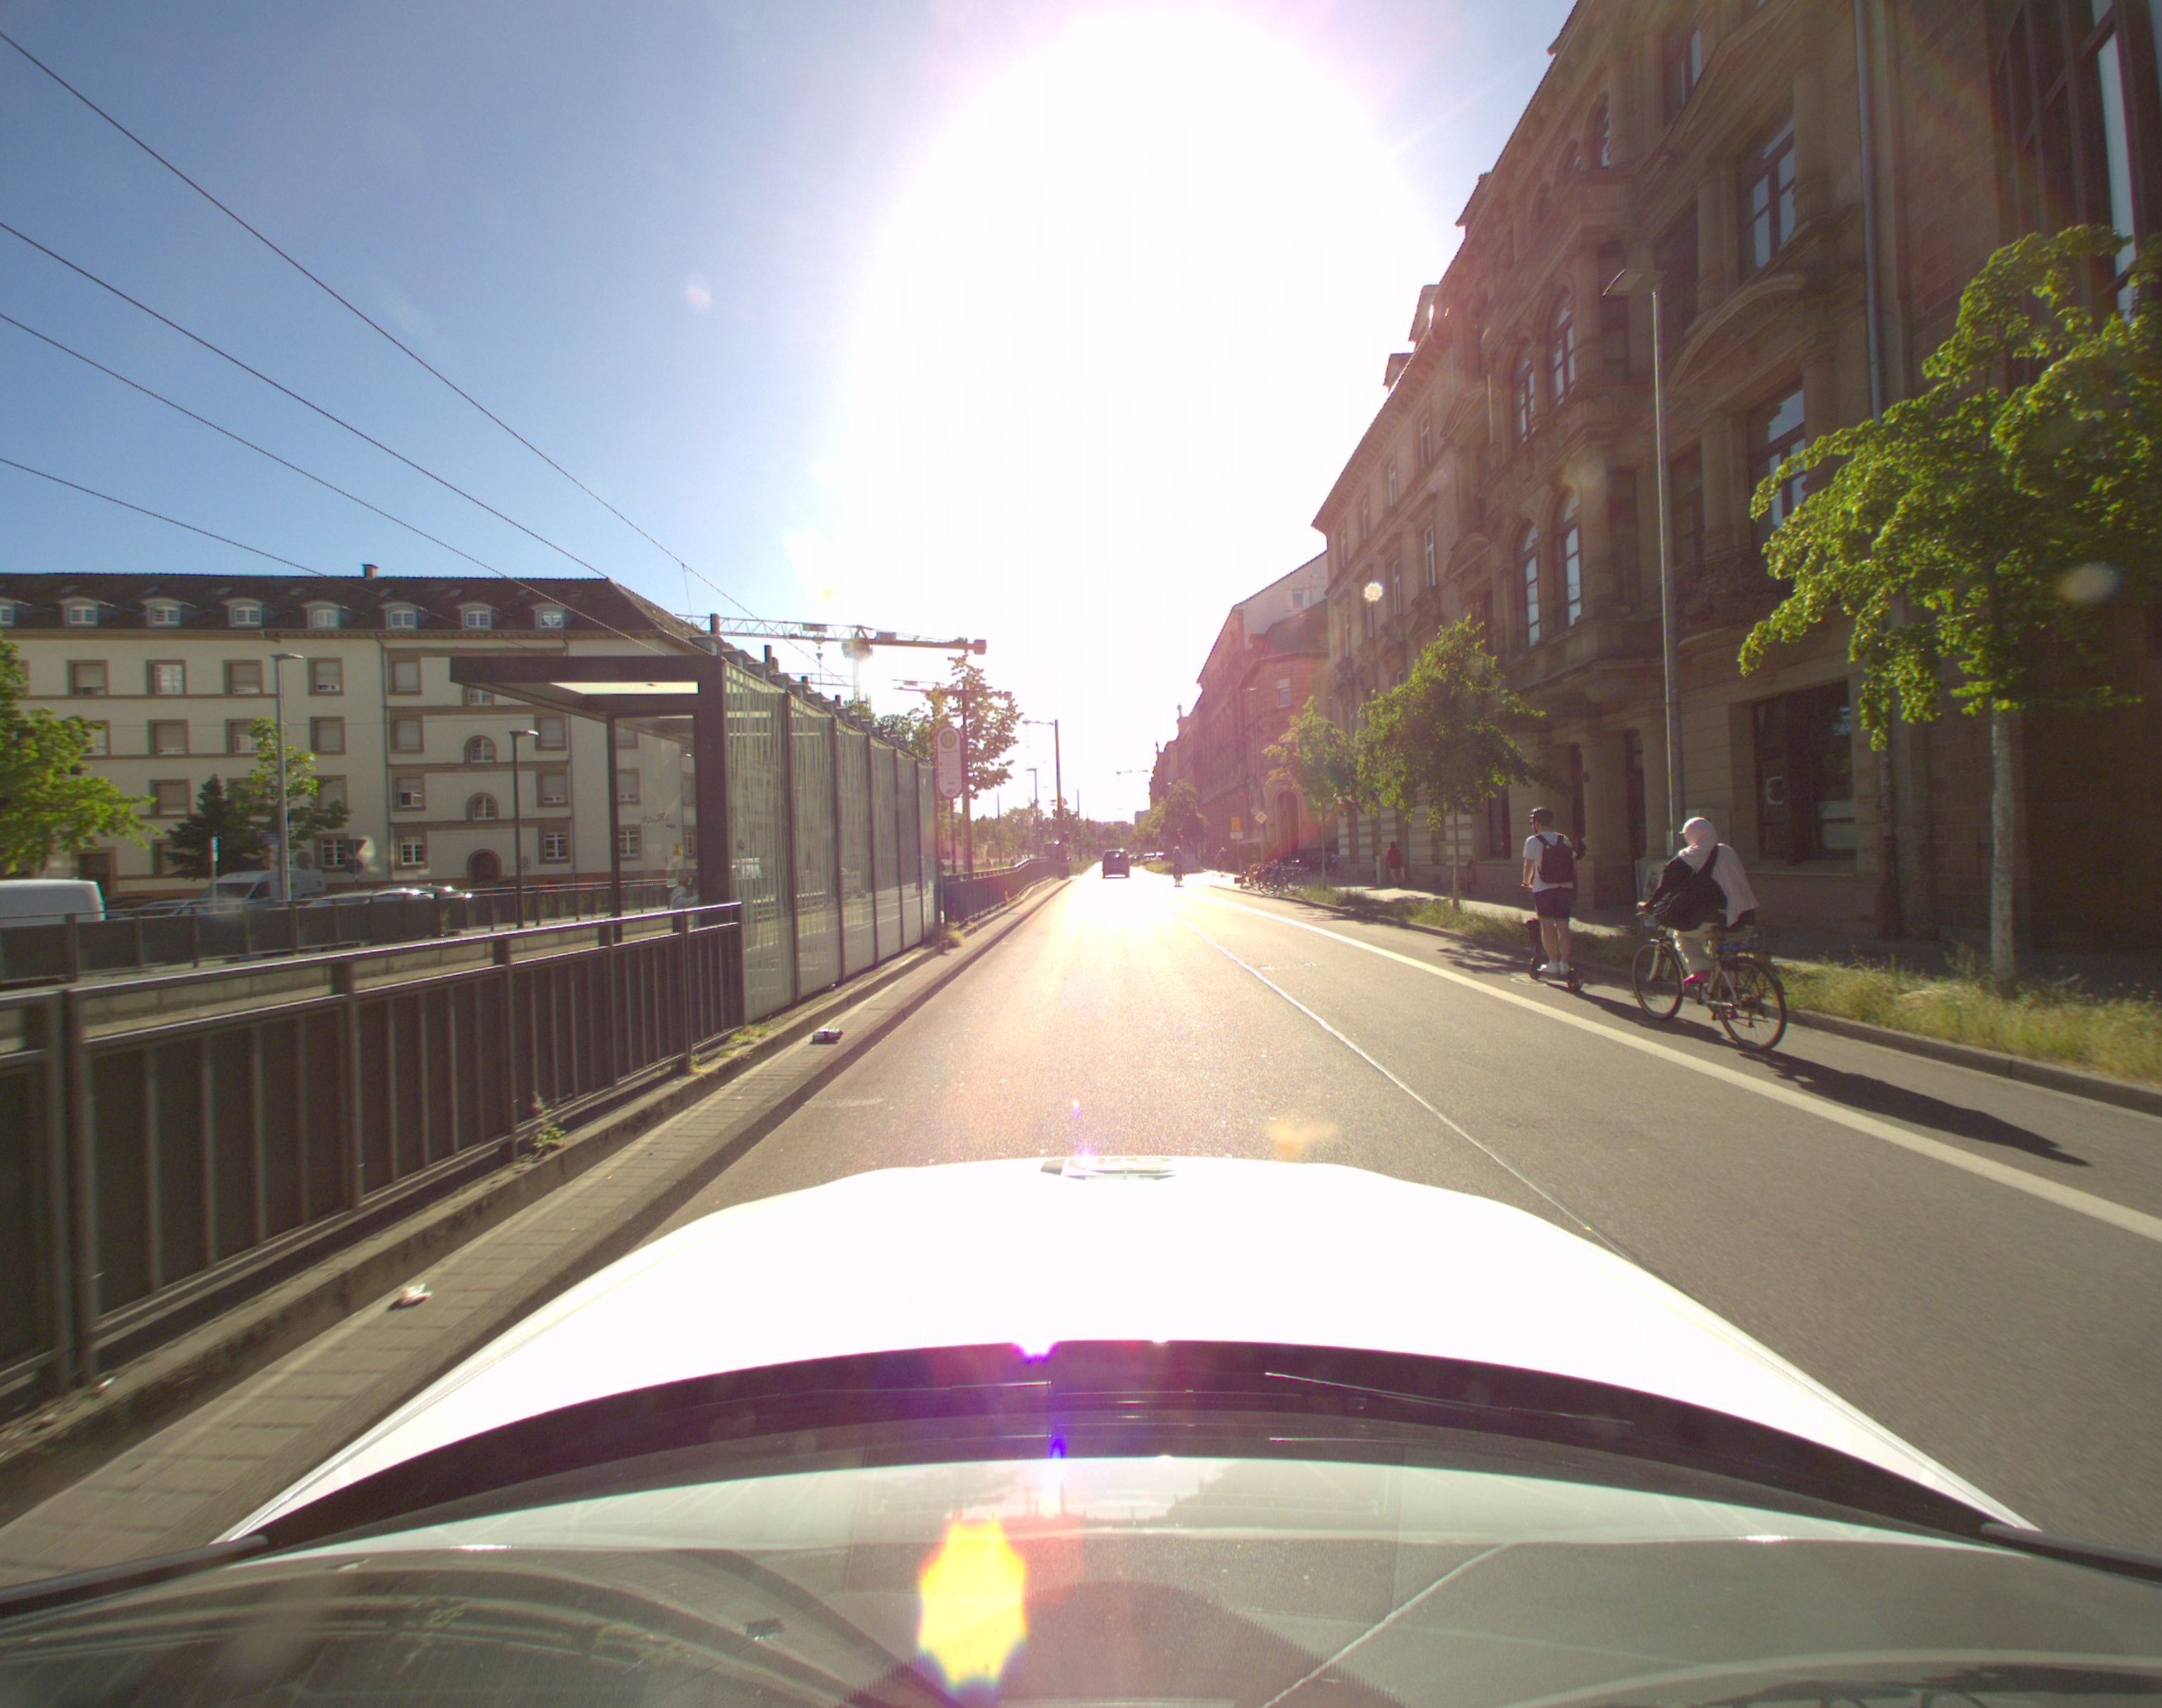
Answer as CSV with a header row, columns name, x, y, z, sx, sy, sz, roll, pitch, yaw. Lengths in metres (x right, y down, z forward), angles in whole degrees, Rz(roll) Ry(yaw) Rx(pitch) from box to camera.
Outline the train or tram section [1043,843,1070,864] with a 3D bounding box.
name,x,y,z,sx,sy,sz,roll,pitch,yaw
train or tram section,-3.219,-0.004,109.160,2.744,2.743,9.871,-1,-1,3

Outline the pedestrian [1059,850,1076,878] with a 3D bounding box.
name,x,y,z,sx,sy,sz,roll,pitch,yaw
pedestrian,-0.968,0.669,56.771,1.073,1.908,0.652,-2,0,-5

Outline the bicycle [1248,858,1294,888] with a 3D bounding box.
name,x,y,z,sx,sy,sz,roll,pitch,yaw
bicycle,7.437,0.747,31.914,1.592,1.045,0.607,-5,0,4

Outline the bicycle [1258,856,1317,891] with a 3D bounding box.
name,x,y,z,sx,sy,sz,roll,pitch,yaw
bicycle,7.737,0.741,30.597,1.987,1.128,0.710,-5,0,2

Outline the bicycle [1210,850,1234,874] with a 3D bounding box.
name,x,y,z,sx,sy,sz,roll,pitch,yaw
bicycle,8.527,0.495,49.299,0.616,1.330,1.892,-6,0,-12

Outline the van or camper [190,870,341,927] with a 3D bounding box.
name,x,y,z,sx,sy,sz,roll,pitch,yaw
van or camper,-39.336,2.041,39.577,1.993,2.401,5.936,-3,0,-9

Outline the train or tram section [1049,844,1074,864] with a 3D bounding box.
name,x,y,z,sx,sy,sz,roll,pitch,yaw
train or tram section,-2.783,0.114,119.003,2.744,2.743,9.871,-1,-1,3

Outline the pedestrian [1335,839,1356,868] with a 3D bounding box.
name,x,y,z,sx,sy,sz,roll,pitch,yaw
pedestrian,15.877,-0.031,48.964,0.905,1.760,0.866,-1,0,-6

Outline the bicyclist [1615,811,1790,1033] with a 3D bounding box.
name,x,y,z,sx,sy,sz,roll,pitch,yaw
bicyclist,5.074,0.523,6.710,0.776,1.711,0.869,0,0,1

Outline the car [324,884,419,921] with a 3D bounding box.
name,x,y,z,sx,sy,sz,roll,pitch,yaw
car,-34.508,2.337,39.726,1.685,1.522,3.656,-2,0,-7

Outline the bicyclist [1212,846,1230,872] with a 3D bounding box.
name,x,y,z,sx,sy,sz,roll,pitch,yaw
bicyclist,8.493,0.300,49.311,0.661,1.530,0.797,-6,0,-12

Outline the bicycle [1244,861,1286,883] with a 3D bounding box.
name,x,y,z,sx,sy,sz,roll,pitch,yaw
bicycle,7.878,0.777,34.941,1.661,0.821,0.608,-3,0,8

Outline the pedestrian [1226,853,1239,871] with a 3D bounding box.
name,x,y,z,sx,sy,sz,roll,pitch,yaw
pedestrian,10.584,0.552,56.842,0.703,1.178,0.635,-4,0,1

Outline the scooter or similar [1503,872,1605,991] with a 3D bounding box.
name,x,y,z,sx,sy,sz,roll,pitch,yaw
scooter or similar,5.313,0.834,9.208,0.489,1.227,1.170,0,0,1

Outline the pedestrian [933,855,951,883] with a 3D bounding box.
name,x,y,z,sx,sy,sz,roll,pitch,yaw
pedestrian,-8.700,0.935,51.102,0.860,1.780,0.911,-1,0,6

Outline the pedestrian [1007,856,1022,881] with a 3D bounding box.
name,x,y,z,sx,sy,sz,roll,pitch,yaw
pedestrian,-4.114,0.900,50.534,0.809,1.536,0.798,-1,0,3

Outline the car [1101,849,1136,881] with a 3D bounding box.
name,x,y,z,sx,sy,sz,roll,pitch,yaw
car,2.438,0.688,53.966,2.192,1.926,4.655,-3,0,1

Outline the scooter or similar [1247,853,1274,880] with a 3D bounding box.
name,x,y,z,sx,sy,sz,roll,pitch,yaw
scooter or similar,8.140,0.570,37.014,1.105,1.189,0.420,-3,0,8

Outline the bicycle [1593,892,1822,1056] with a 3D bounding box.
name,x,y,z,sx,sy,sz,roll,pitch,yaw
bicycle,5.097,0.910,6.788,0.555,1.092,1.792,0,0,1

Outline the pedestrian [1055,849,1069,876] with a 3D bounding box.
name,x,y,z,sx,sy,sz,roll,pitch,yaw
pedestrian,-1.272,0.561,54.481,0.863,1.788,0.969,-1,0,-5

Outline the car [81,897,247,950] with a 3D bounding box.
name,x,y,z,sx,sy,sz,roll,pitch,yaw
car,-31.824,2.356,28.456,1.781,1.451,3.983,-2,0,-12

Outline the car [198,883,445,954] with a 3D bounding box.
name,x,y,z,sx,sy,sz,roll,pitch,yaw
car,-16.479,1.343,17.990,1.689,1.286,3.961,-1,-1,1

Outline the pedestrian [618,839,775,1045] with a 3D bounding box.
name,x,y,z,sx,sy,sz,roll,pitch,yaw
pedestrian,-3.067,0.665,6.578,0.809,1.536,0.798,-2,0,3

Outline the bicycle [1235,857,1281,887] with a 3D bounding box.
name,x,y,z,sx,sy,sz,roll,pitch,yaw
bicycle,7.259,0.742,33.472,1.715,1.100,0.607,-5,0,4

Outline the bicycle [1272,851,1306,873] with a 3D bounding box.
name,x,y,z,sx,sy,sz,roll,pitch,yaw
bicycle,12.176,0.453,47.759,1.809,1.171,0.655,-2,3,5

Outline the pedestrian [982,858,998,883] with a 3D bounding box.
name,x,y,z,sx,sy,sz,roll,pitch,yaw
pedestrian,-5.774,1.029,51.500,0.862,1.536,0.909,-1,0,1

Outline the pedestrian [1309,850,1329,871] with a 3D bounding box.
name,x,y,z,sx,sy,sz,roll,pitch,yaw
pedestrian,14.231,0.364,48.769,0.848,1.214,0.932,-1,0,-6

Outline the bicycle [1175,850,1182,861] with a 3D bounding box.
name,x,y,z,sx,sy,sz,roll,pitch,yaw
bicycle,11.017,0.132,91.887,0.581,1.222,1.900,-2,0,2

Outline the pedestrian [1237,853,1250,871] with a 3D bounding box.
name,x,y,z,sx,sy,sz,roll,pitch,yaw
pedestrian,11.375,0.540,56.888,0.703,1.236,0.635,-4,0,1

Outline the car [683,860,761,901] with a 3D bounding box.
name,x,y,z,sx,sy,sz,roll,pitch,yaw
car,-16.790,1.198,38.331,1.813,1.794,4.089,-1,-1,1

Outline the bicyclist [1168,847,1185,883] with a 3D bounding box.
name,x,y,z,sx,sy,sz,roll,pitch,yaw
bicyclist,4.563,0.512,38.951,0.682,1.673,0.922,0,0,1

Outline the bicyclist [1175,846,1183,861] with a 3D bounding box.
name,x,y,z,sx,sy,sz,roll,pitch,yaw
bicyclist,11.020,-0.076,91.674,0.664,1.639,0.961,-2,0,1

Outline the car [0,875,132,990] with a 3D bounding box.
name,x,y,z,sx,sy,sz,roll,pitch,yaw
car,-24.078,1.747,16.751,1.982,2.369,5.660,-2,0,9

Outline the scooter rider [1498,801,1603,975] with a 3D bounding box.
name,x,y,z,sx,sy,sz,roll,pitch,yaw
scooter rider,5.276,0.363,9.195,0.664,1.860,0.901,0,0,1

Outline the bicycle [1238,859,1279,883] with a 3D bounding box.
name,x,y,z,sx,sy,sz,roll,pitch,yaw
bicycle,7.757,0.720,35.609,1.660,0.944,0.608,-3,0,8

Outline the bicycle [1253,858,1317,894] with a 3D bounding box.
name,x,y,z,sx,sy,sz,roll,pitch,yaw
bicycle,7.302,0.768,29.231,1.994,1.092,0.845,-5,0,-9

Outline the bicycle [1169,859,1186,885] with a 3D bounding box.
name,x,y,z,sx,sy,sz,roll,pitch,yaw
bicycle,4.558,0.839,38.643,0.599,1.181,1.869,0,0,1

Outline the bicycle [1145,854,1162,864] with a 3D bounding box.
name,x,y,z,sx,sy,sz,roll,pitch,yaw
bicycle,8.365,0.579,93.847,1.786,1.030,0.527,-6,0,1

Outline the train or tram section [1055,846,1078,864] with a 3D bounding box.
name,x,y,z,sx,sy,sz,roll,pitch,yaw
train or tram section,-2.223,0.229,128.863,2.744,2.743,9.871,-1,-1,3

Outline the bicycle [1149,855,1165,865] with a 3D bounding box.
name,x,y,z,sx,sy,sz,roll,pitch,yaw
bicycle,8.618,0.691,92.496,1.786,1.030,0.527,-3,0,1

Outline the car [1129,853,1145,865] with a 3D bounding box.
name,x,y,z,sx,sy,sz,roll,pitch,yaw
car,8.097,0.708,117.467,2.020,1.499,4.655,-3,0,1

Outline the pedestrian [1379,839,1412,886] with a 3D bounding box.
name,x,y,z,sx,sy,sz,roll,pitch,yaw
pedestrian,10.574,0.286,27.377,0.706,1.542,0.927,-2,0,1
